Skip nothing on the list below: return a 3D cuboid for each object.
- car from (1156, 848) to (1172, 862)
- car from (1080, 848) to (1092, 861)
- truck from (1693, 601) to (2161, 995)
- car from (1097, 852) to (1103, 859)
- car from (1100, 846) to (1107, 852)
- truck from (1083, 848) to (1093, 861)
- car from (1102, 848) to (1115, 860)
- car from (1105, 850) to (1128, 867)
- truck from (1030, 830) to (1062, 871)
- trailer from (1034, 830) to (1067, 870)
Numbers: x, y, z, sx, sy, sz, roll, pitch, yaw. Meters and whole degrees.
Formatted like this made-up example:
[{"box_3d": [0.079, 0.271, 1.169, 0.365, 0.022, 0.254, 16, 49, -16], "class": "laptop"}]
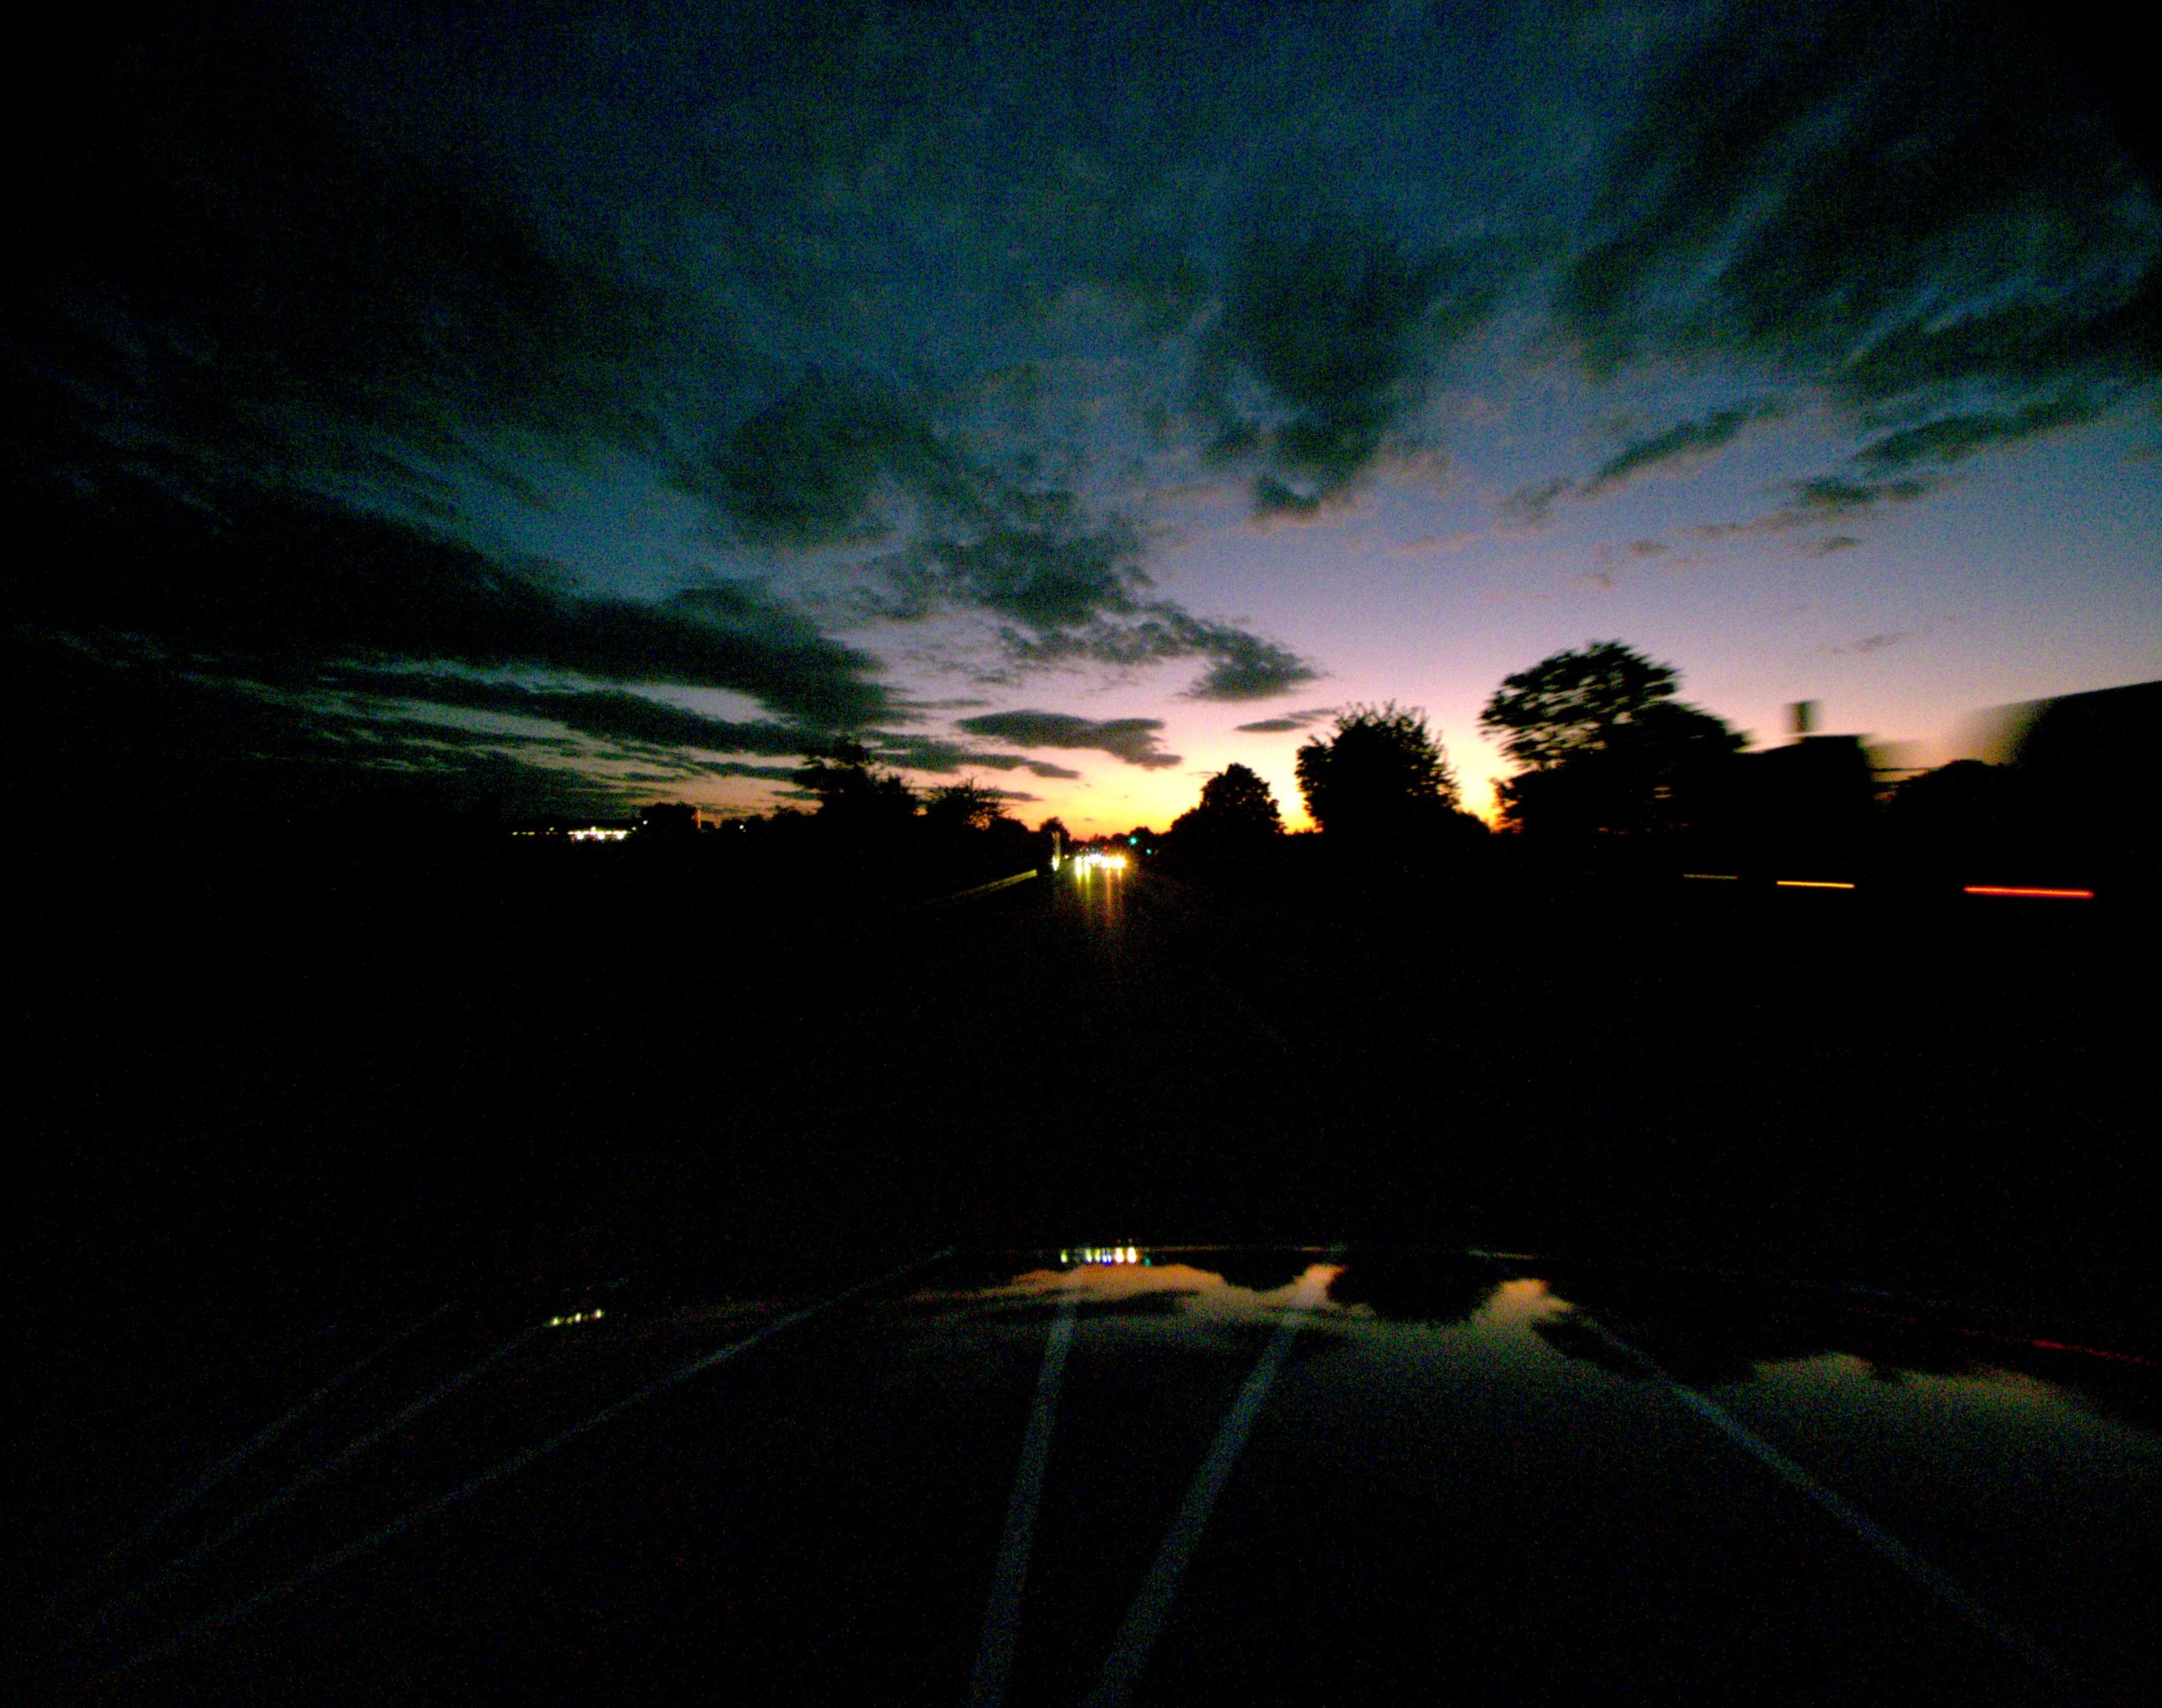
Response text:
[{"box_3d": [13.714, 0.148, 126.249, 1.970, 2.087, 5.346, -2, 1, 0], "class": "car"}, {"box_3d": [0.742, 0.016, 121.187, 1.741, 2.002, 4.000, -2, 0, 0], "class": "car"}, {"box_3d": [15.969, -0.743, 11.458, 3.210, 5.225, 12.607, 1, 1, 0], "class": "truck"}, {"box_3d": [5.941, 0.579, 238.226, 1.998, 2.002, 4.000, -2, 1, 2], "class": "car"}, {"box_3d": [7.463, -1.600, 252.292, 1.999, 2.002, 3.999, -2, 1, 0], "class": "car"}, {"box_3d": [2.245, 0.100, 241.956, 3.016, 3.674, 9.057, -2, 1, 0], "class": "truck"}, {"box_3d": [4.419, -0.002, 122.229, 1.998, 1.778, 4.000, -2, 1, 1], "class": "car"}, {"box_3d": [3.608, 0.449, 76.975, 1.999, 1.635, 4.296, -2, 1, -1], "class": "car"}, {"box_3d": [-3.374, -0.374, 73.928, 2.490, 3.778, 5.498, -2, 1, 2], "class": "truck"}, {"box_3d": [-3.102, -0.459, 81.532, 2.474, 3.789, 12.671, -2, 1, 2], "class": "trailer"}]
